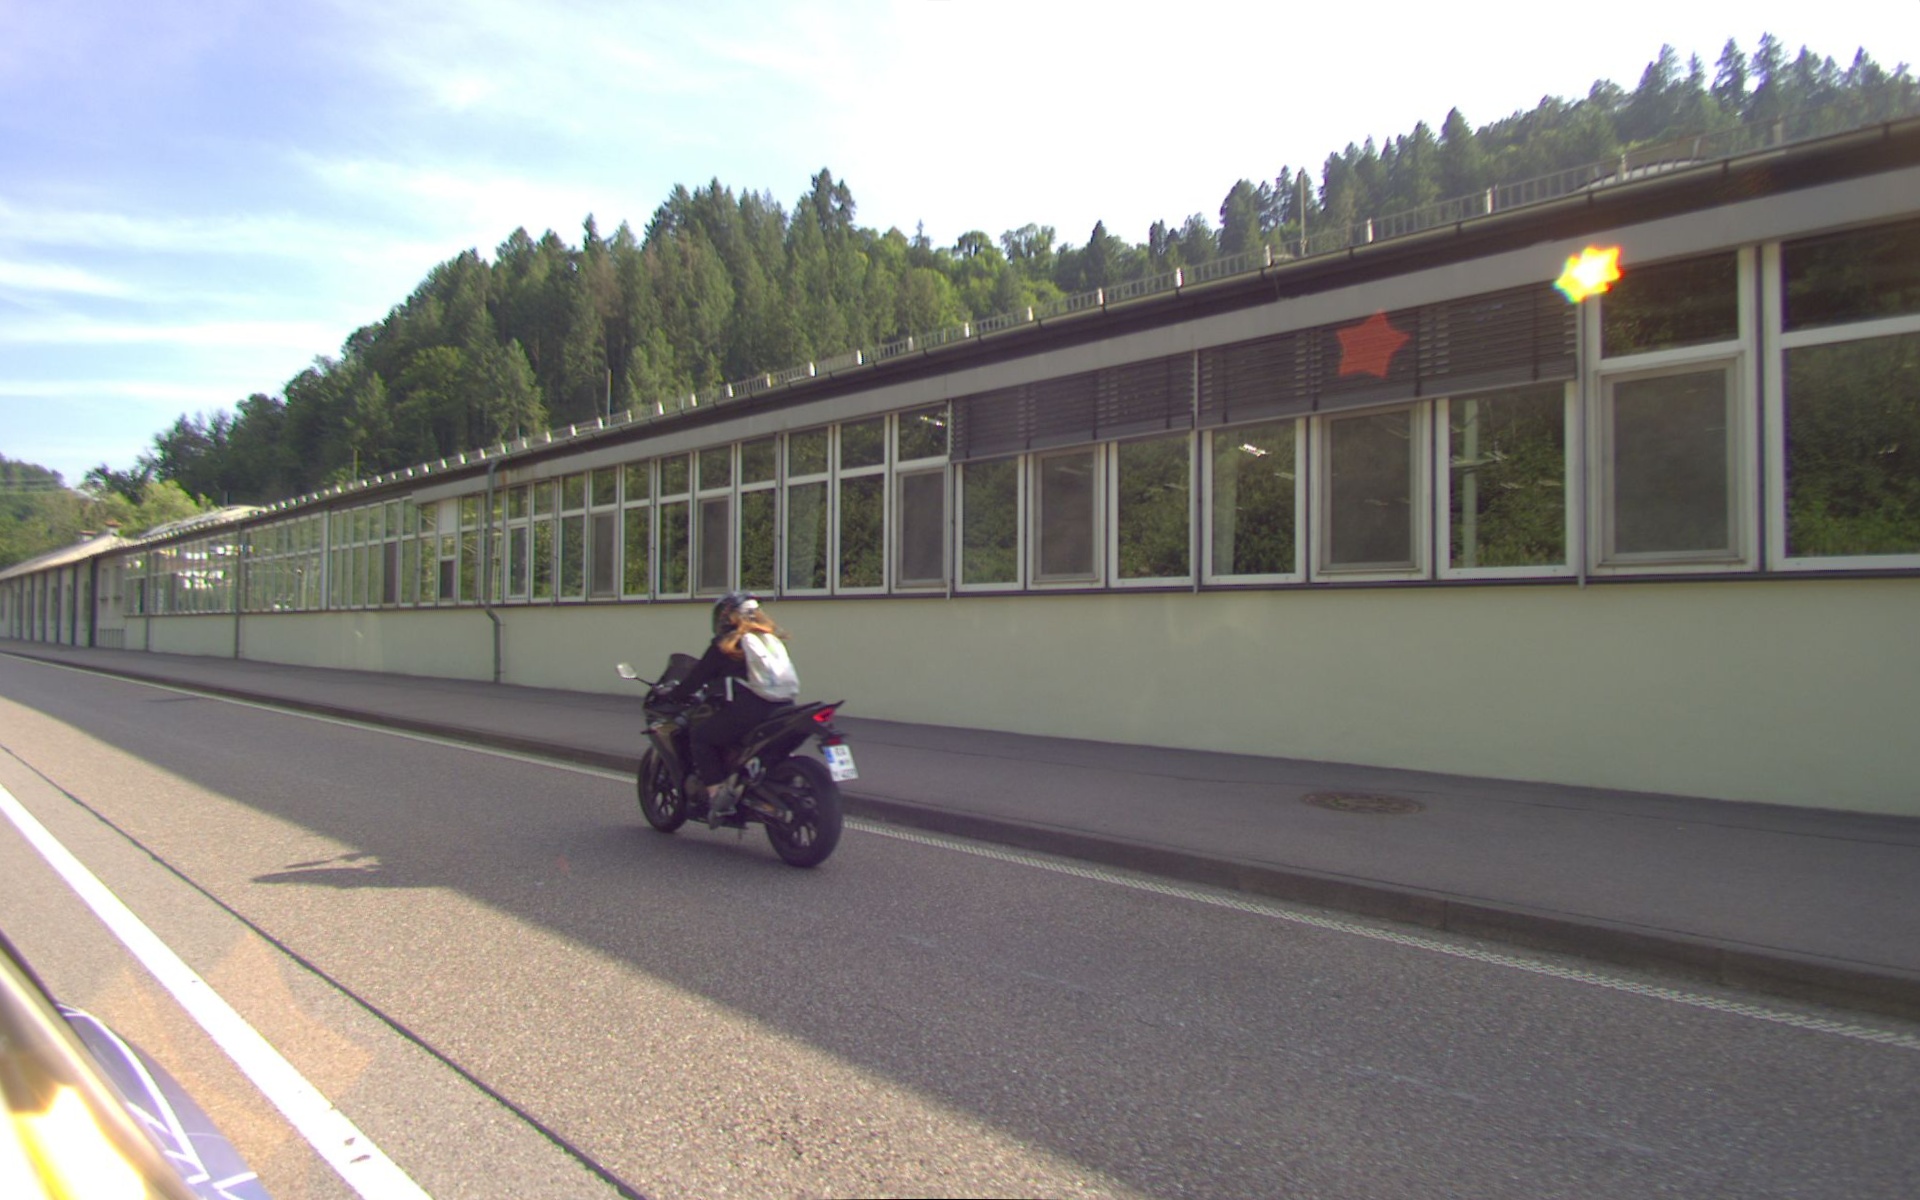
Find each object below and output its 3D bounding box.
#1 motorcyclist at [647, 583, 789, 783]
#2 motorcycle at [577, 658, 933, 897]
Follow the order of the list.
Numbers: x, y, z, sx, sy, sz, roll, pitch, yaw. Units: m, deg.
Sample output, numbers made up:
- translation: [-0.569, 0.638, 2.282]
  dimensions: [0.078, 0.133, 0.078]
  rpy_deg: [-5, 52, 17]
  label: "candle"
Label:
- translation: [-1.469, 0.475, 6.153]
  dimensions: [0.636, 1.133, 0.580]
  rpy_deg: [-1, -1, 41]
  label: "motorcyclist"
- translation: [-1.319, 0.928, 6.043]
  dimensions: [2.491, 1.076, 0.733]
  rpy_deg: [-1, -1, 41]
  label: "motorcycle"
